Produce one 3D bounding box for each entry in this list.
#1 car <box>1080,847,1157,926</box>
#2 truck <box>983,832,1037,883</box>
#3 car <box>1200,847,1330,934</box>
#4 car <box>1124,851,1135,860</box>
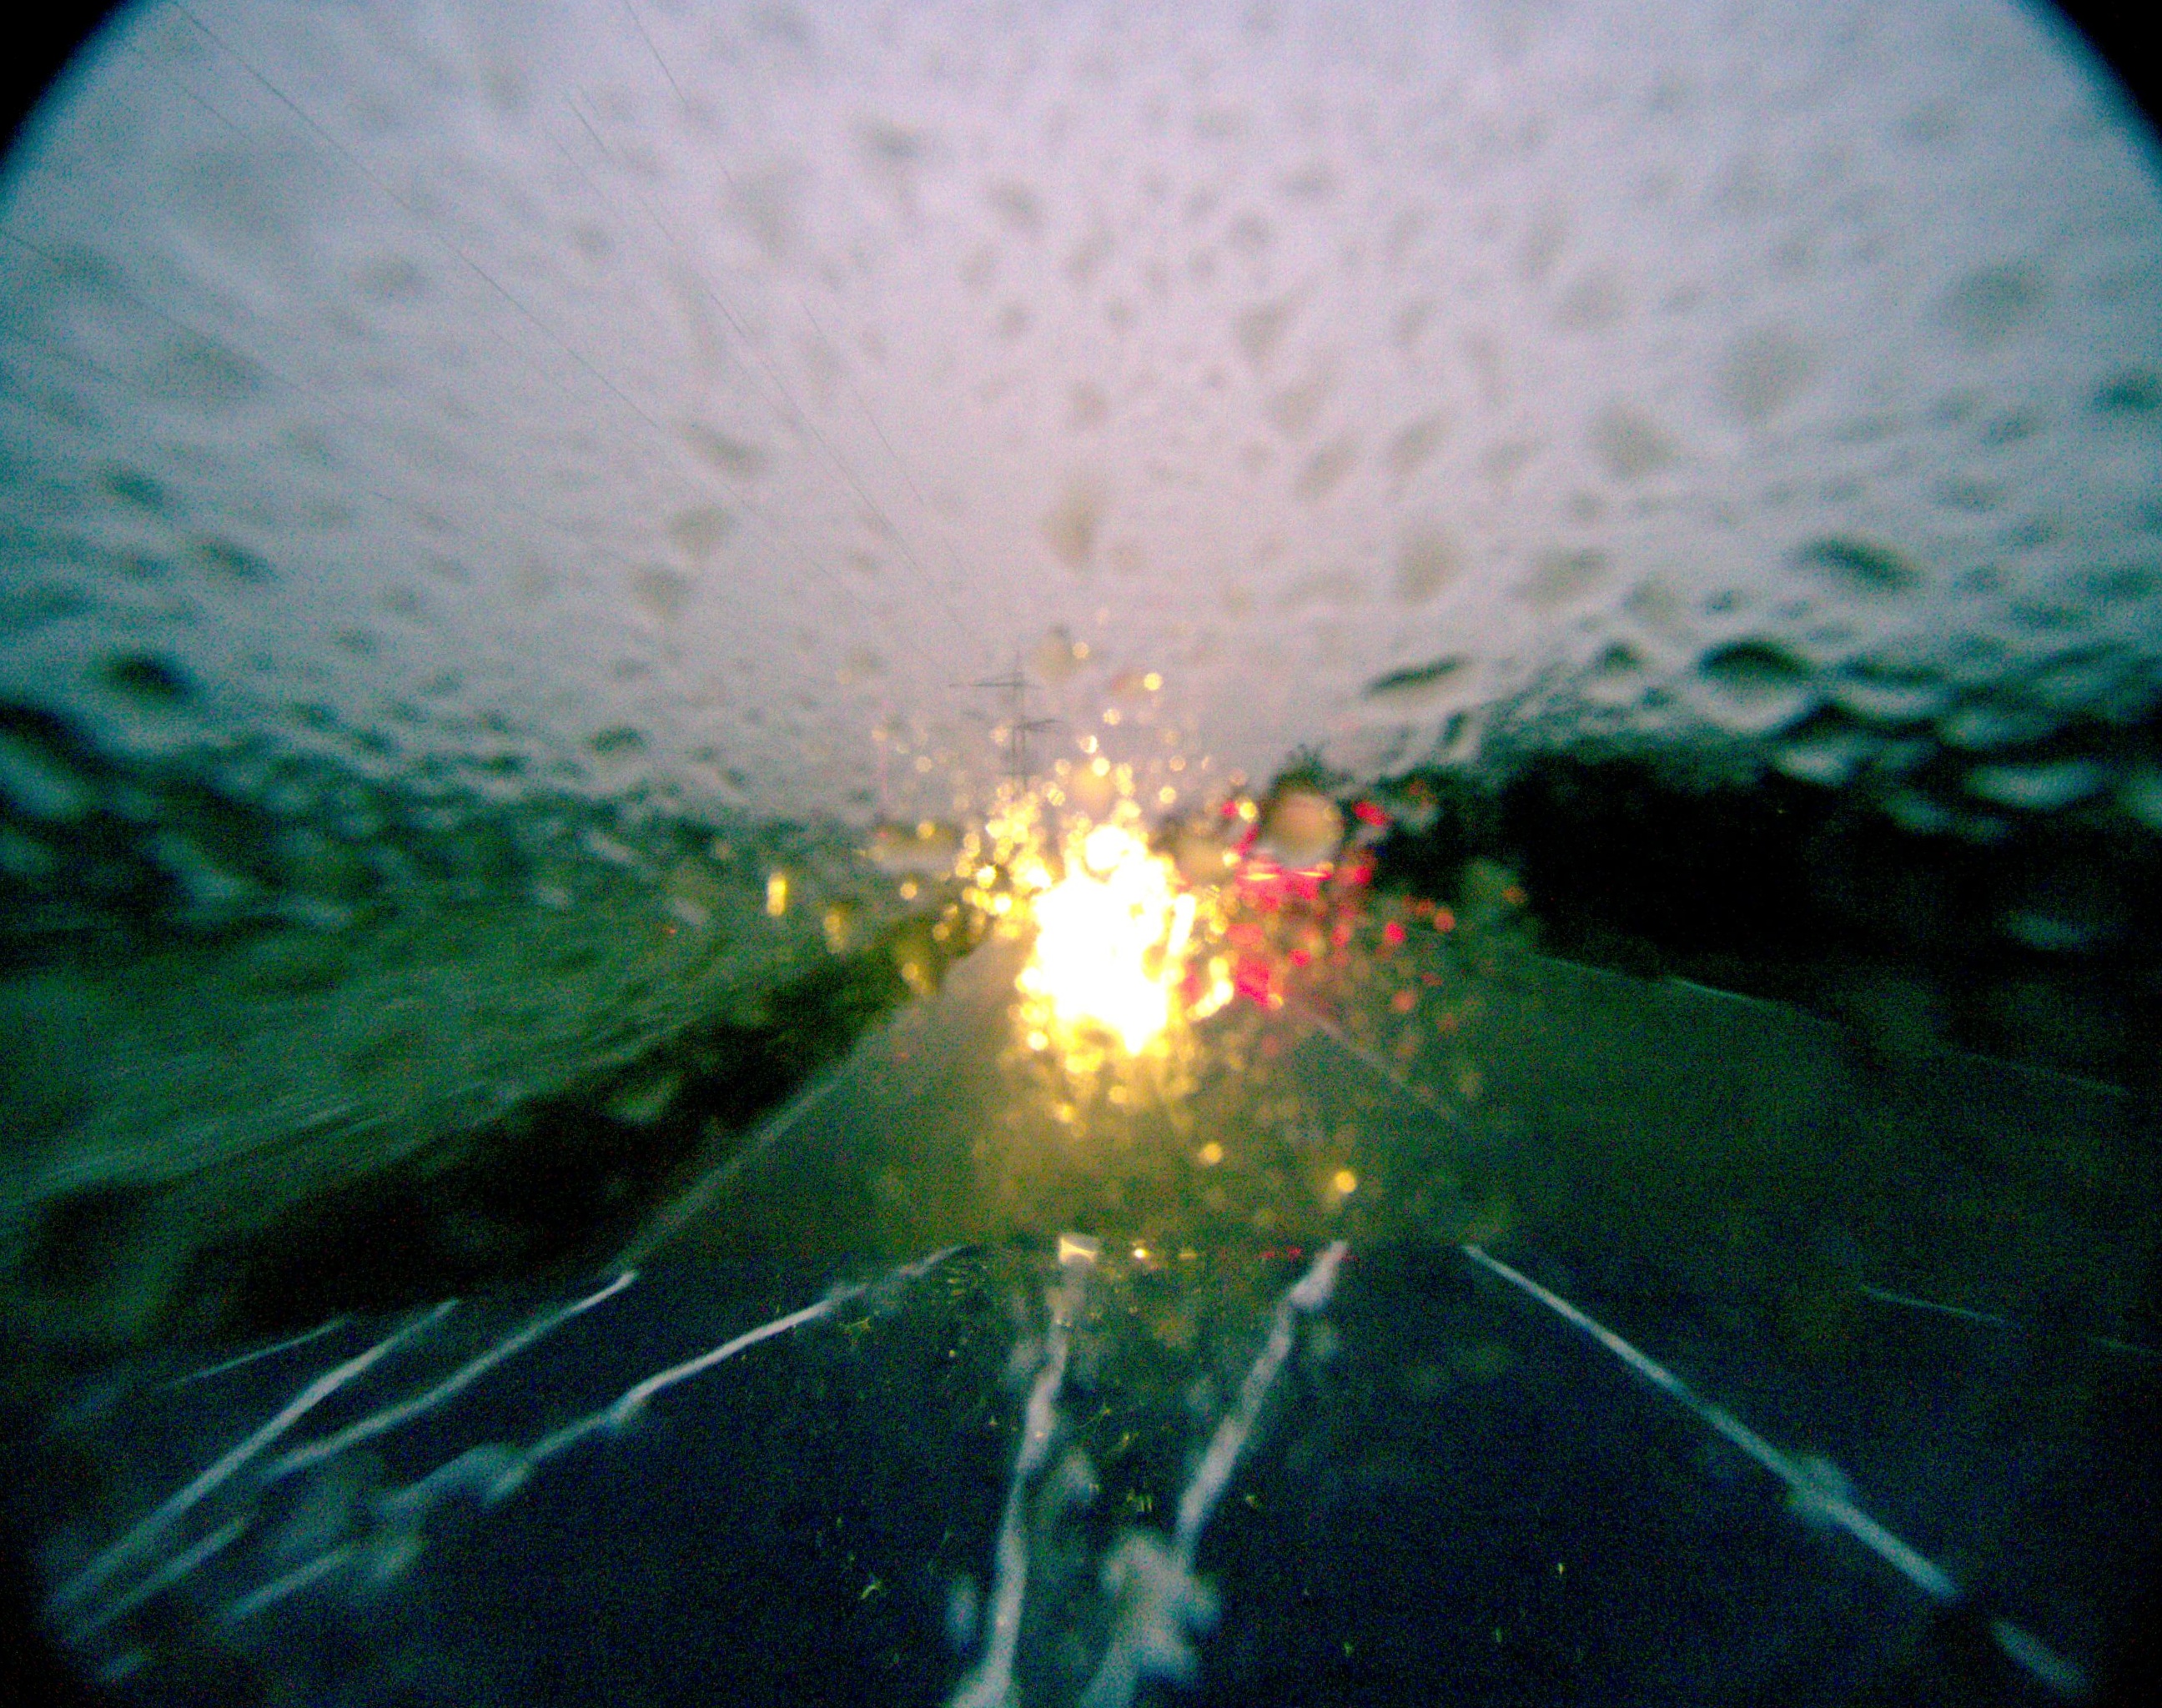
[{"bbox_3d":[0.979,0.828,21.891,1.857,2.002,3.999,-2,1,-1],"label":"car"},{"bbox_3d":[-4.486,0.185,49.473,2.540,2.961,7.857,-2,1,1],"label":"truck"},{"bbox_3d":[3.844,0.688,16.628,1.790,1.582,4.486,-2,0,1],"label":"car"},{"bbox_3d":[8.397,0.269,130.858,1.773,1.582,4.164,-2,0,2],"label":"car"}]
